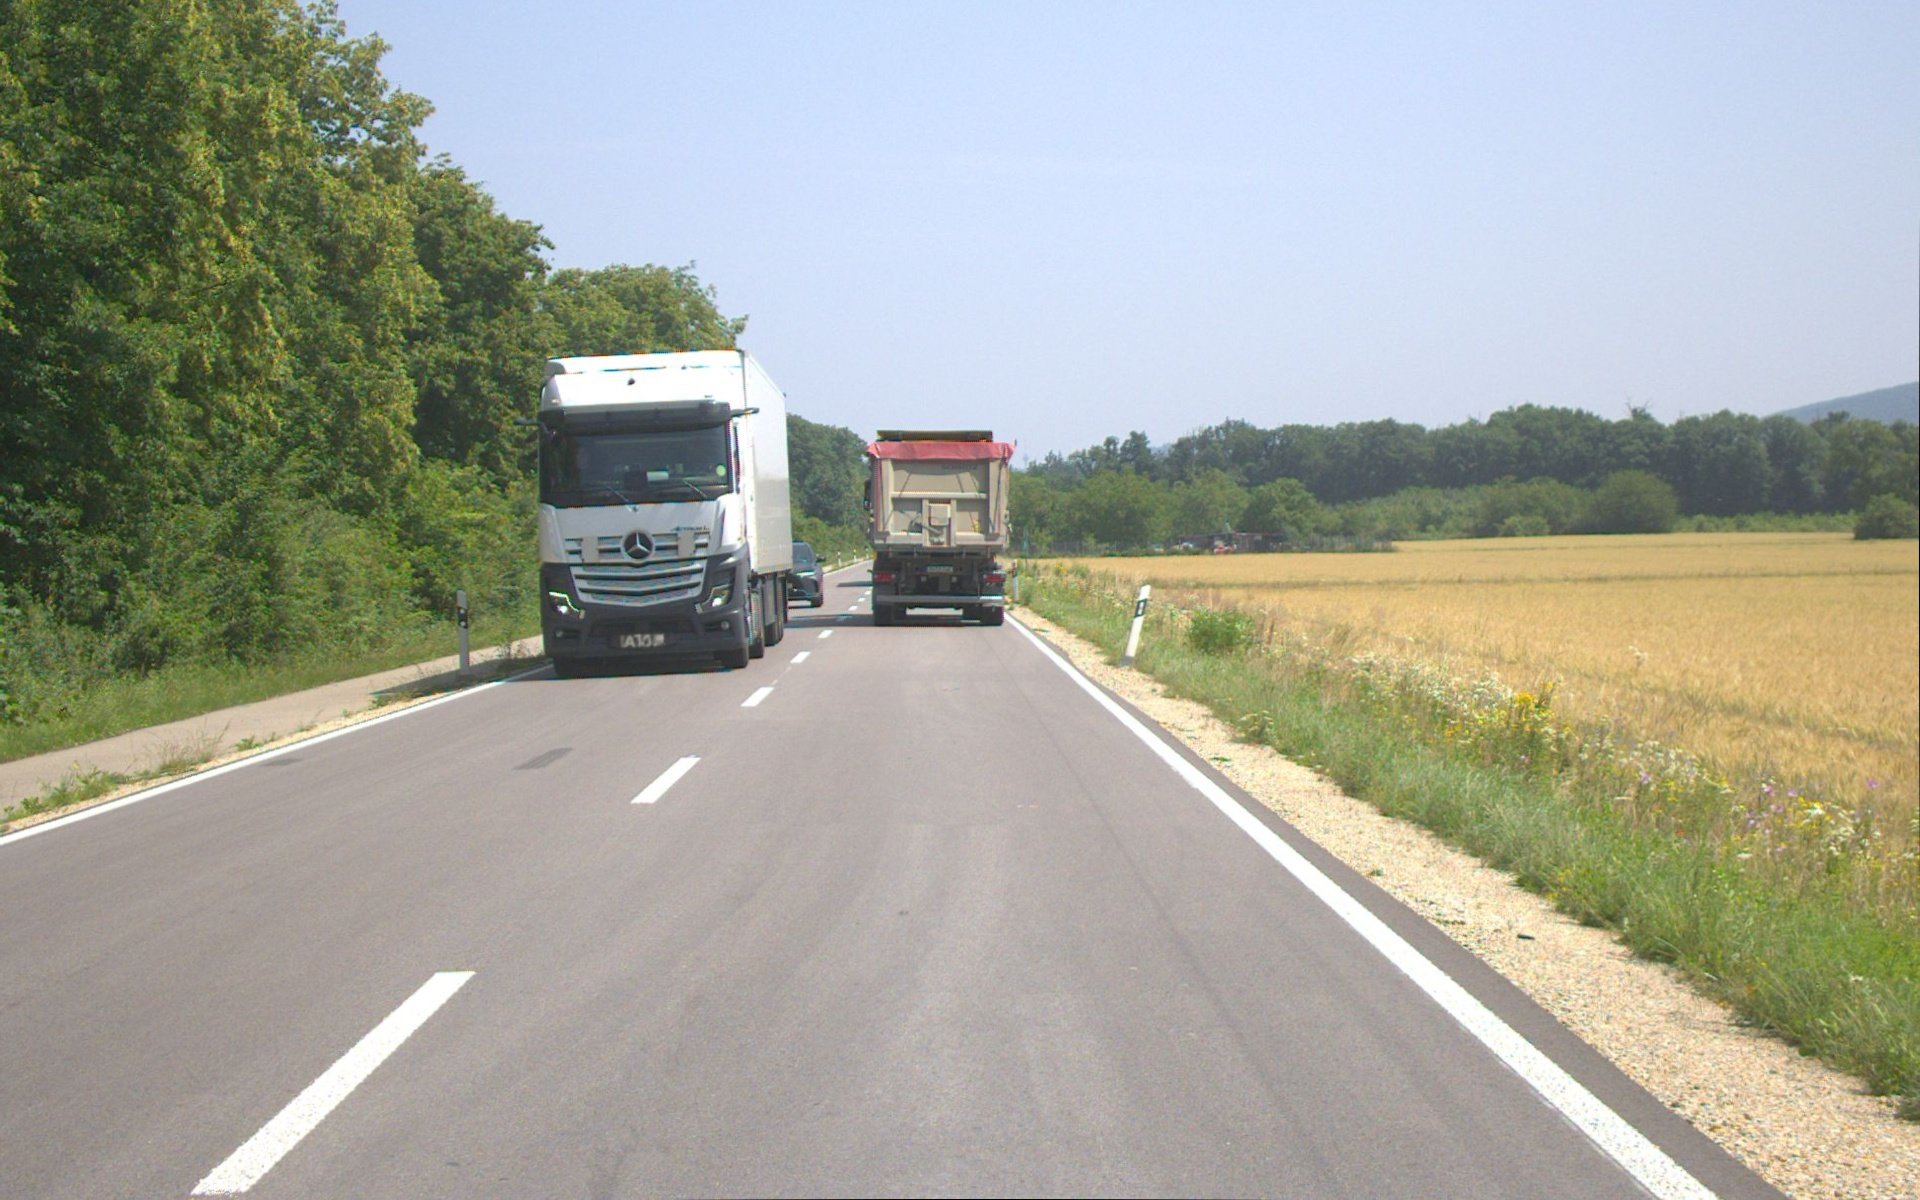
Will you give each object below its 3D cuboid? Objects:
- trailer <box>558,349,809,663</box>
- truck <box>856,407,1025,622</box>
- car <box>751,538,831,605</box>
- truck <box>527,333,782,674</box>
[{"bbox_3d":[-3.860,-1.332,51.048,2.653,3.963,13.355,-2,1,-1],"label":"trailer"},{"bbox_3d":[-0.406,-1.614,68.746,3.009,3.861,12.209,1,1,-1],"label":"truck"},{"bbox_3d":[-4.174,-0.735,85.344,1.792,1.568,4.479,-2,1,-1],"label":"car"},{"bbox_3d":[-3.781,-1.202,43.795,2.656,3.963,5.727,-2,1,0],"label":"truck"}]
